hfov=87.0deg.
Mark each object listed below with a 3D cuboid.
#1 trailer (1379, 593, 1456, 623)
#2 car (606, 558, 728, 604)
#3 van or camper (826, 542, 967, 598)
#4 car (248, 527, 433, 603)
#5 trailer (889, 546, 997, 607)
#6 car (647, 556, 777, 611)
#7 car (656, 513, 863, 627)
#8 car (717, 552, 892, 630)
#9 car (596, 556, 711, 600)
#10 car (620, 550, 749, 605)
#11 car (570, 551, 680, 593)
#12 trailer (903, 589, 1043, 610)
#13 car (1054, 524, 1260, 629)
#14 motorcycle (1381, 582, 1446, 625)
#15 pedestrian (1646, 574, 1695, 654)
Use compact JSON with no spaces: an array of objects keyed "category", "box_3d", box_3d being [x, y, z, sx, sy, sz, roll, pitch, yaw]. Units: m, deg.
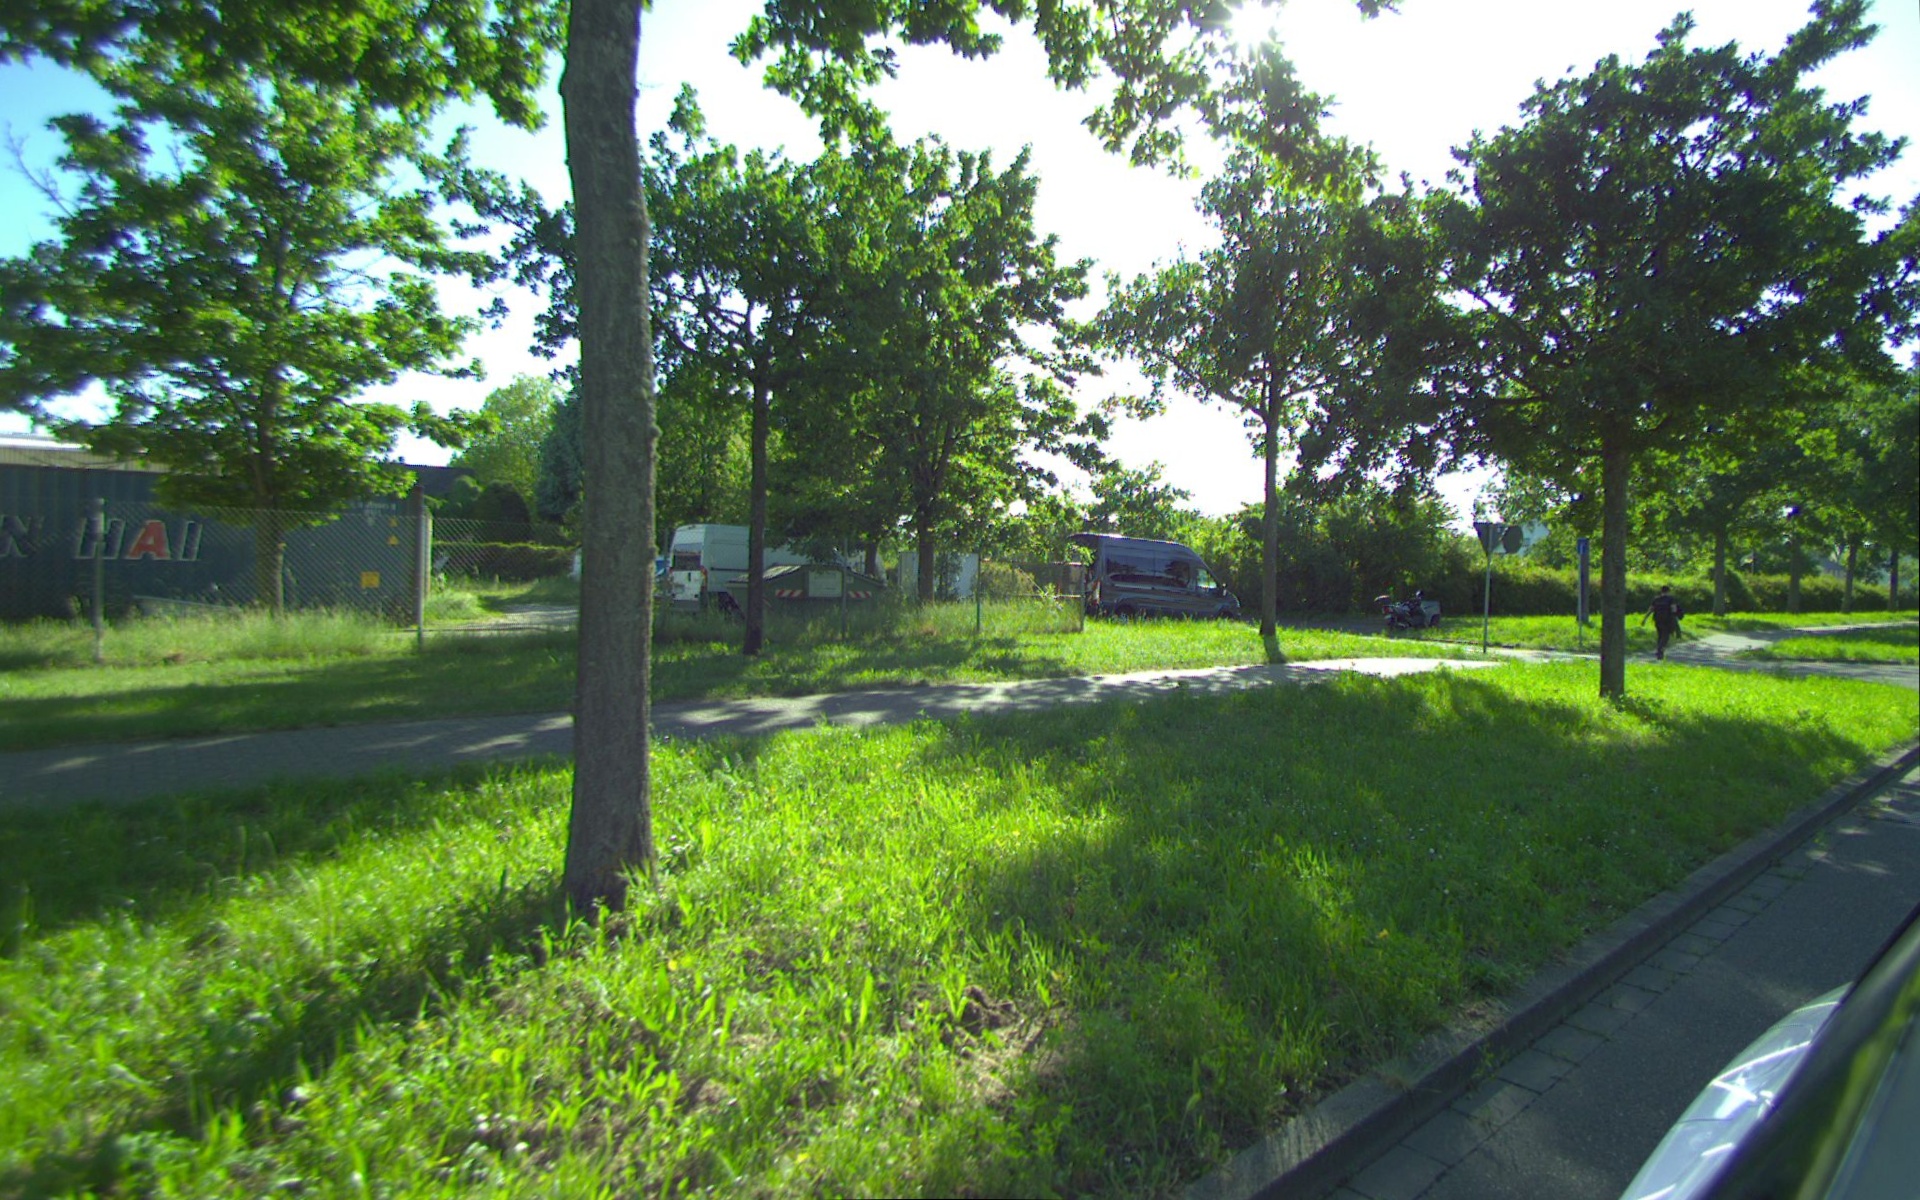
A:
[{"category":"trailer","box_3d":[16.202,0.270,35.888,2.013,0.878,1.586,-4,4,-28]},{"category":"car","box_3d":[-10.858,-0.685,37.558,3.922,1.612,2.002,0,2,-33]},{"category":"van or camper","box_3d":[-3.101,-1.443,50.259,6.640,2.606,2.191,0,2,-28]},{"category":"car","box_3d":[-20.077,-1.087,33.102,4.910,2.088,2.094,3,-1,-28]},{"category":"trailer","box_3d":[-0.686,-0.950,40.778,3.712,2.336,2.200,0,2,-28]},{"category":"car","box_3d":[-8.051,-0.528,32.764,3.915,1.660,1.845,1,2,-19]},{"category":"car","box_3d":[-5.090,-0.744,26.046,4.765,2.676,2.165,0,2,-40]},{"category":"car","box_3d":[-3.632,-0.244,23.825,3.533,1.685,2.010,0,2,-40]},{"category":"car","box_3d":[-11.990,-0.857,39.626,3.922,1.612,2.002,0,2,-33]},{"category":"car","box_3d":[-9.681,-0.788,35.607,3.922,1.845,2.002,0,2,-33]},{"category":"car","box_3d":[-13.815,-1.136,41.729,3.922,1.612,2.002,0,2,-33]},{"category":"trailer","box_3d":[0.480,-0.017,37.728,4.724,0.659,2.239,0,2,-28]},{"category":"car","box_3d":[5.825,-0.601,29.634,5.849,2.599,2.094,3,-2,-28]},{"category":"motorcycle","box_3d":[15.254,0.111,34.020,2.359,1.246,0.666,-4,4,-28]},{"category":"pedestrian","box_3d":[16.947,0.312,24.125,0.852,1.835,0.727,0,2,-40]}]
